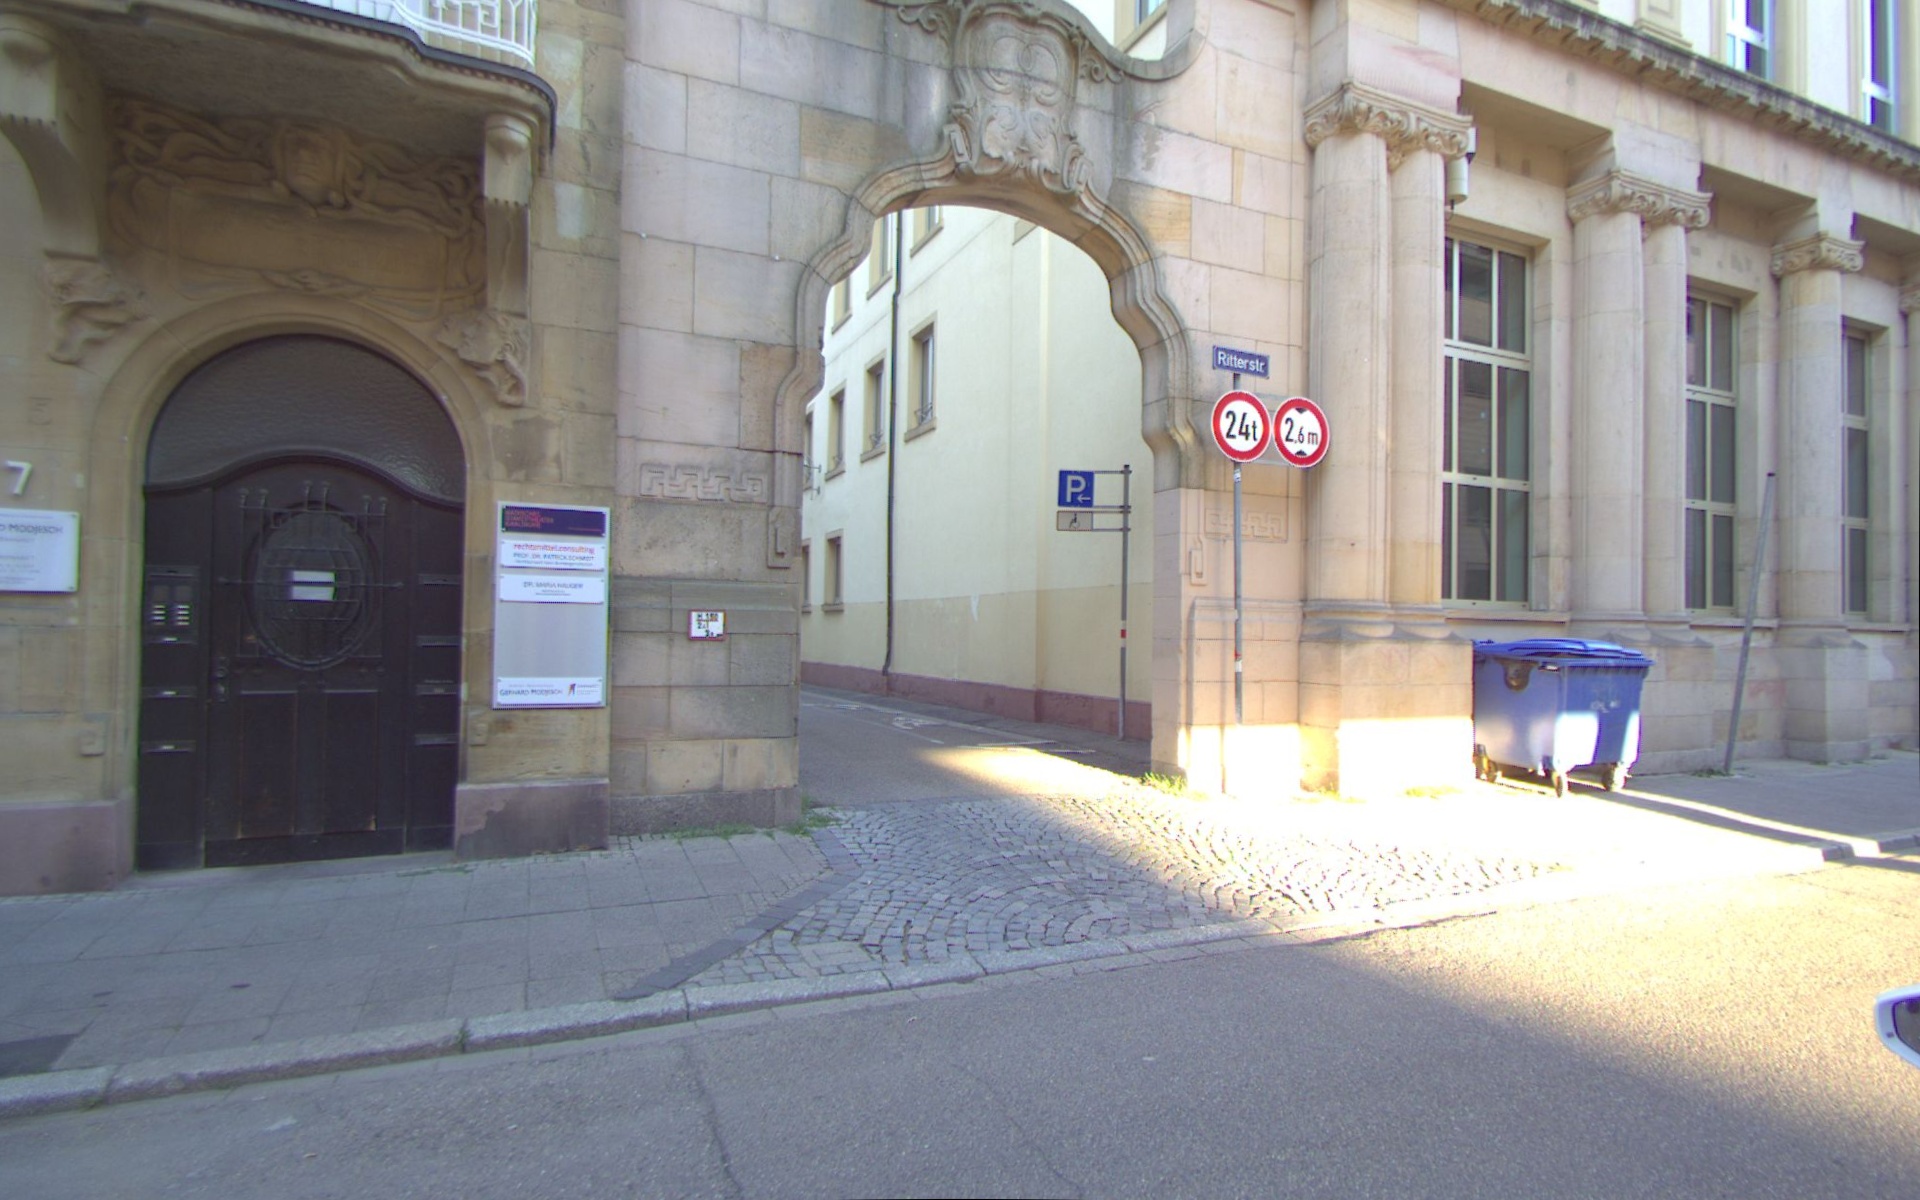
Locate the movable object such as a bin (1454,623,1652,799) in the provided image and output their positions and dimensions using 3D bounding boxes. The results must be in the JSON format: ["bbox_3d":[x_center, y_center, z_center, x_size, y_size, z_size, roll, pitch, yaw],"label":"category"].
[{"bbox_3d":[5.490,0.984,9.349,1.169,1.494,1.072,2,0,-20],"label":"movable object such as a bin"}]

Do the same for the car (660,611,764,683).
[{"bbox_3d":[-7.019,1.266,28.147,1.838,1.778,4.134,5,-3,-27],"label":"car"}]
